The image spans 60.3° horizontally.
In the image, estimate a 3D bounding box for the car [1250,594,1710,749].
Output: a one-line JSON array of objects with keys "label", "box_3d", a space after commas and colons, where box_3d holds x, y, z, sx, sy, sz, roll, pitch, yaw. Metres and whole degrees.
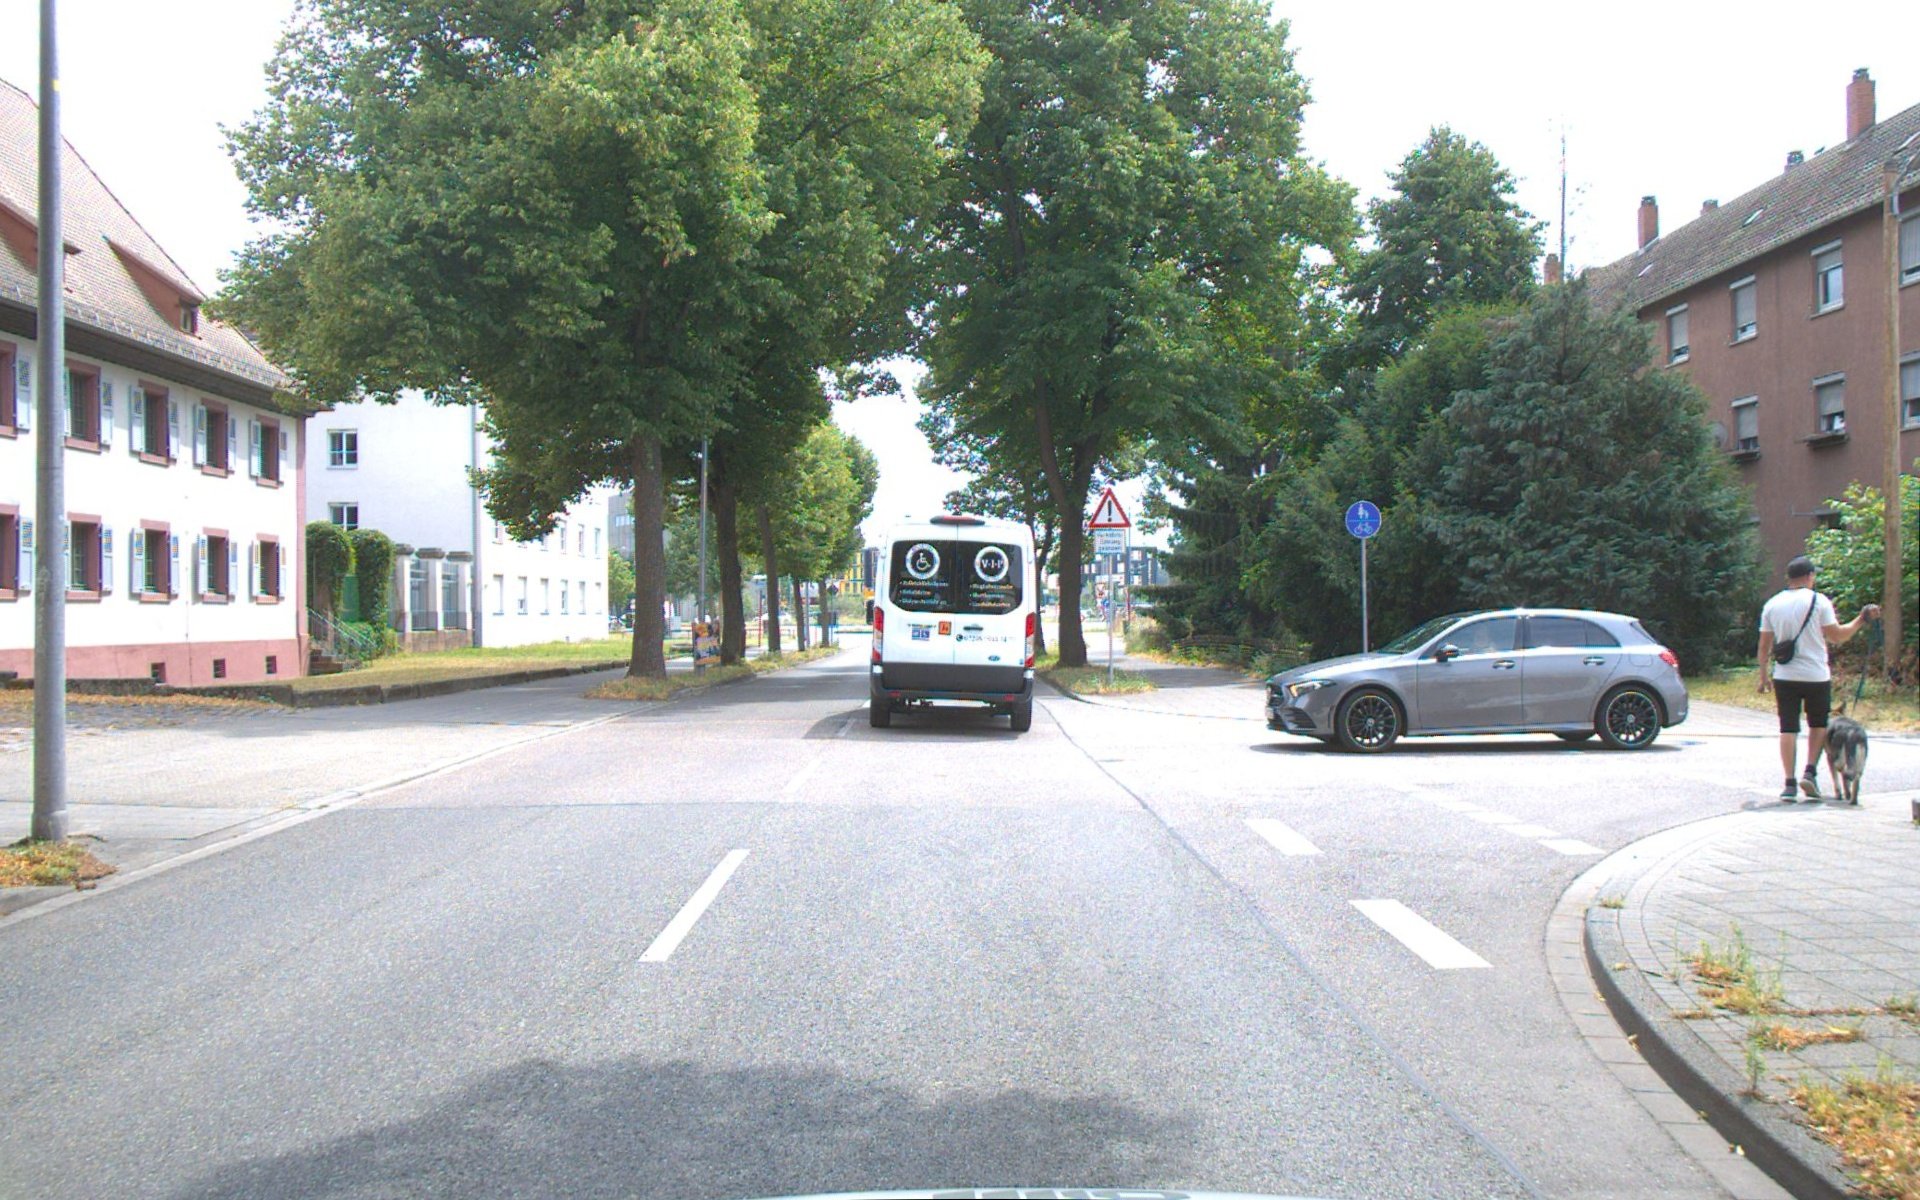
[{"label": "car", "box_3d": [5.437, 0.761, 17.751, 4.281, 1.468, 2.011, -1, -2, 1]}]

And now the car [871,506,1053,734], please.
[{"label": "car", "box_3d": [-0.077, 0.211, 21.022, 2.022, 2.584, 3.997, 1, 1, -4]}]

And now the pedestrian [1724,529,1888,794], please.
[{"label": "pedestrian", "box_3d": [6.153, 0.440, 12.080, 0.864, 1.846, 0.889, -2, 0, 18]}]

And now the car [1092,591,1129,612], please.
[{"label": "car", "box_3d": [13.818, 0.127, 151.536, 1.967, 1.848, 4.408, -3, 0, 26]}]
